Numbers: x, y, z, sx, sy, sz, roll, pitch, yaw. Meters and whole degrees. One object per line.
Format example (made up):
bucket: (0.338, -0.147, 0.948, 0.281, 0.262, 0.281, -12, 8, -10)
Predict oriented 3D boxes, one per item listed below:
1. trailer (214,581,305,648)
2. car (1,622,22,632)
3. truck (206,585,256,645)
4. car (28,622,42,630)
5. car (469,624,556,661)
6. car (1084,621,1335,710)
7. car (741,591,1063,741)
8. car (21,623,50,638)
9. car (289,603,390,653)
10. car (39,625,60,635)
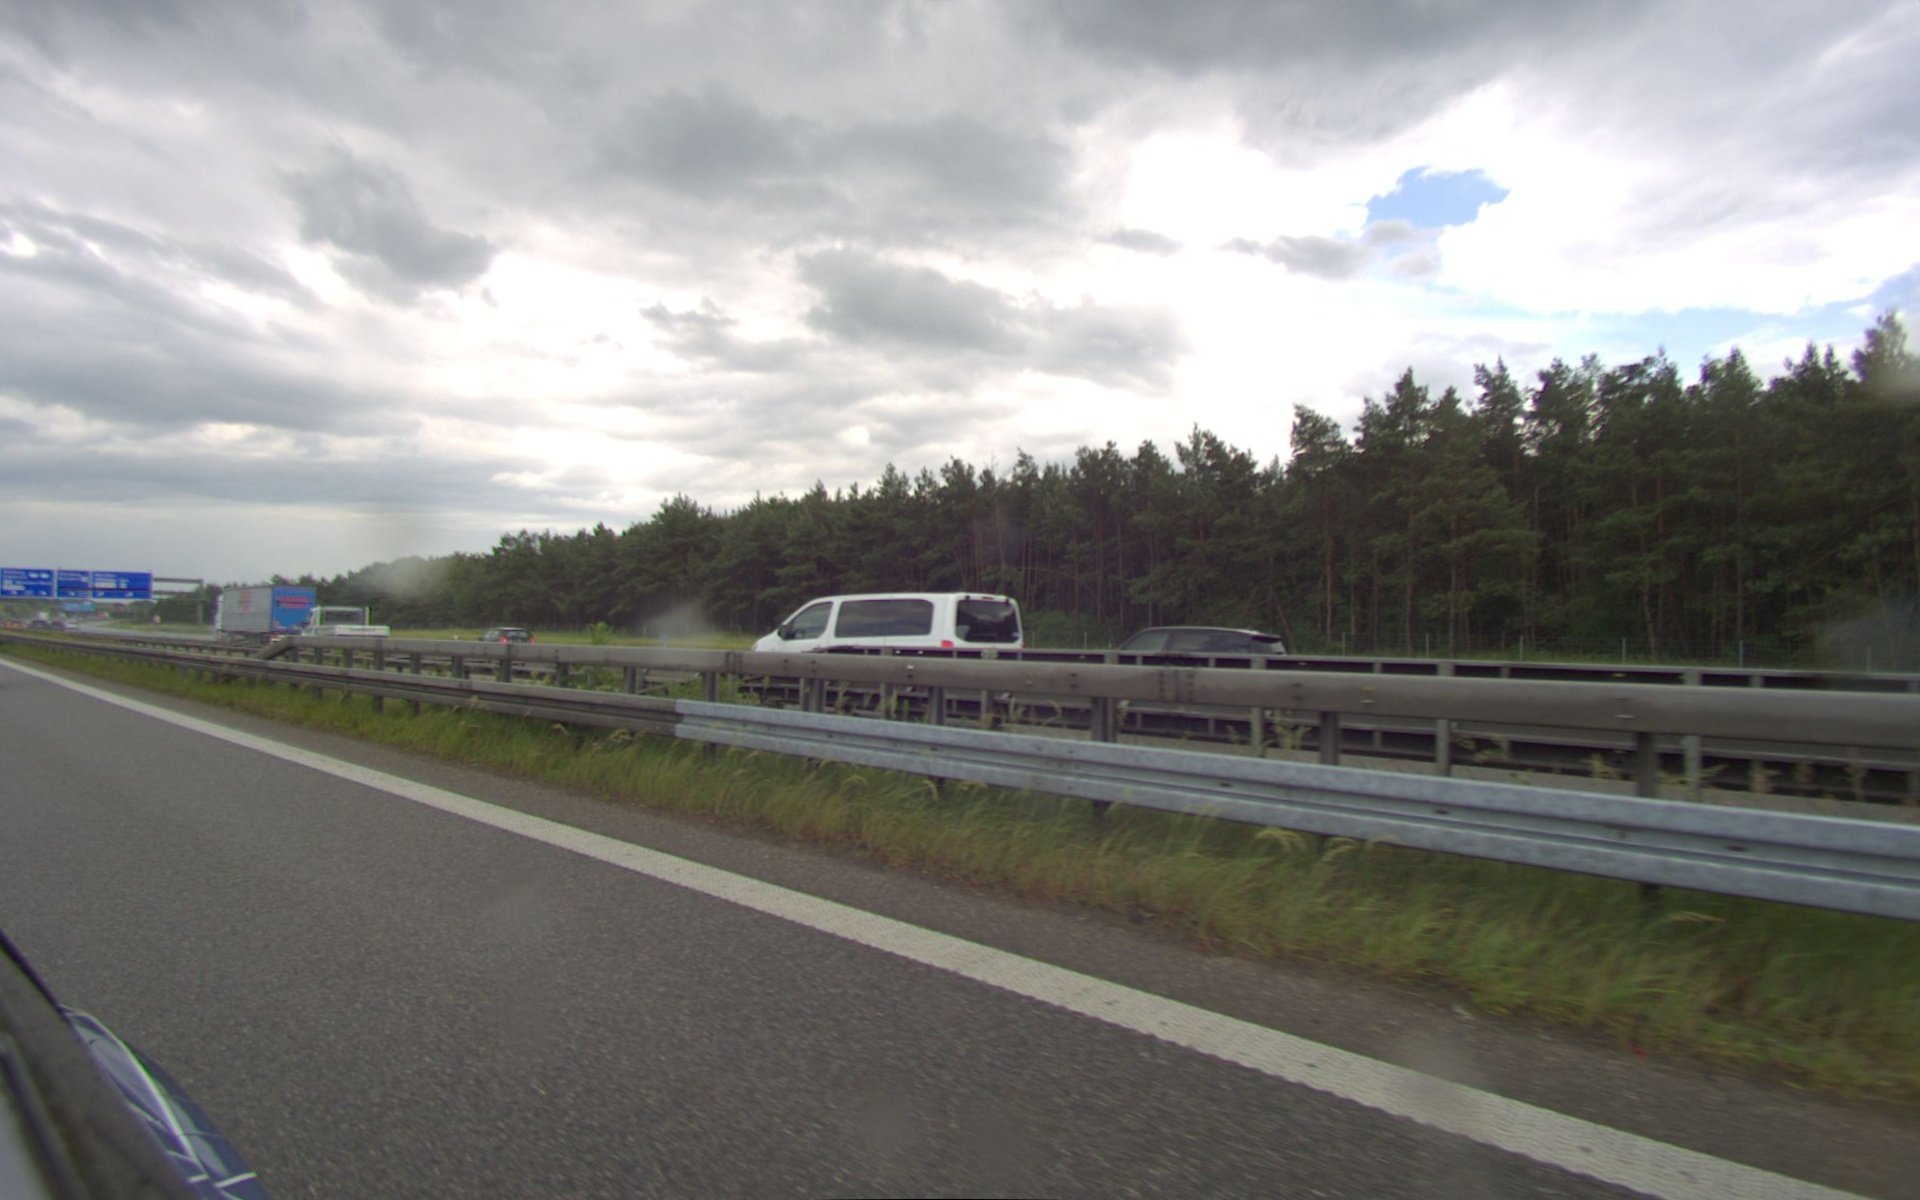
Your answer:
trailer: (-48.914, 1.003, 70.371, 14.625, 4.273, 2.075, -1, 0, 43)
car: (-135.172, 3.843, 144.236, 4.652, 1.375, 1.895, -1, -2, 43)
truck: (-54.440, 1.087, 75.571, 4.707, 4.269, 2.116, -1, 0, 43)
car: (-164.387, 4.586, 179.820, 1.619, 1.483, 4.403, 1, -2, -44)
car: (-19.027, 1.785, 42.970, 4.560, 1.471, 1.654, -1, -2, 42)
car: (3.912, 0.989, 16.124, 3.580, 1.267, 1.549, -1, -3, 41)
car: (-1.003, 0.911, 15.092, 4.895, 1.882, 1.878, -2, -3, 41)
car: (-103.973, 3.421, 113.811, 4.470, 1.674, 1.840, -1, -3, 41)
car: (-27.982, 1.242, 45.508, 6.741, 2.029, 2.258, -1, 0, 44)
car: (-131.336, 4.283, 146.012, 4.652, 1.467, 1.895, -1, -2, 43)
